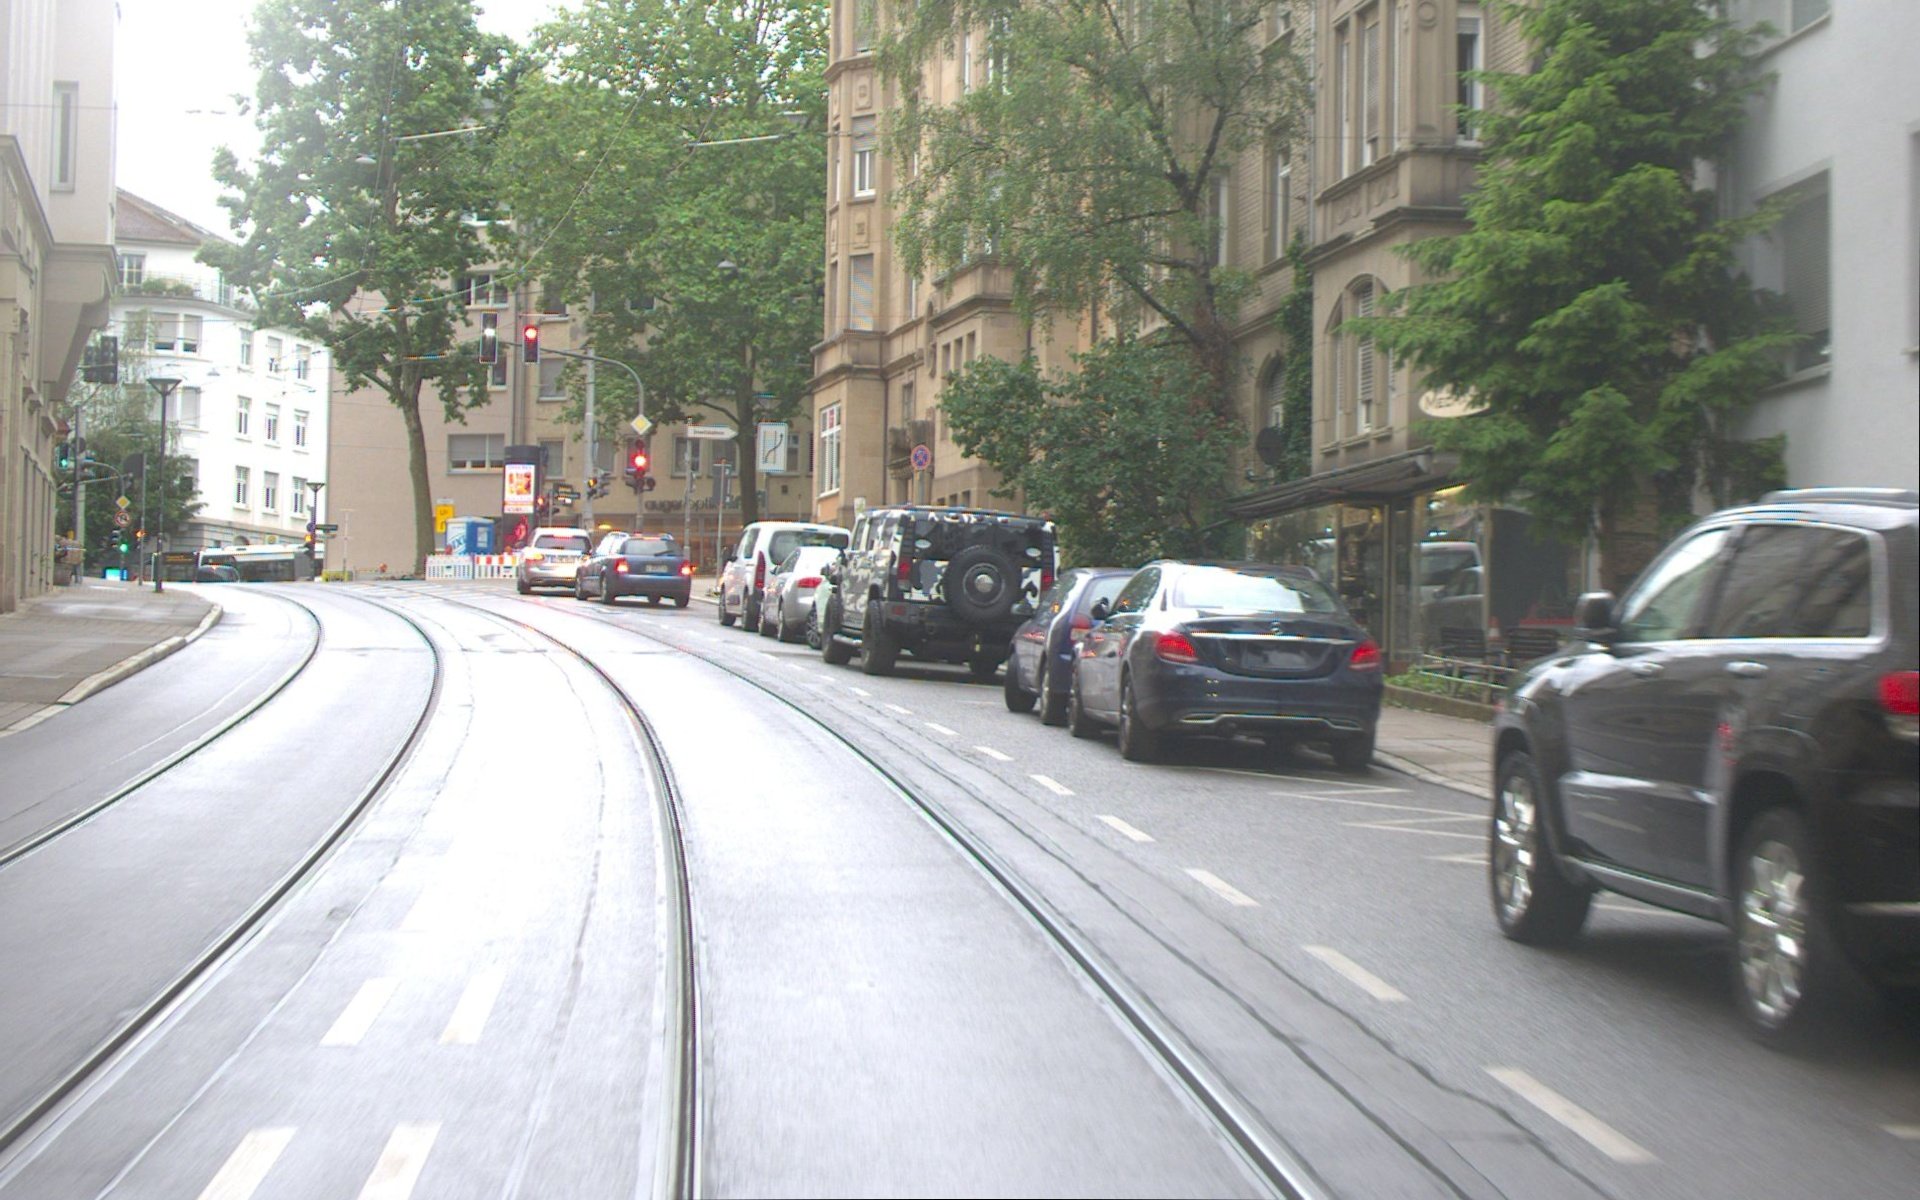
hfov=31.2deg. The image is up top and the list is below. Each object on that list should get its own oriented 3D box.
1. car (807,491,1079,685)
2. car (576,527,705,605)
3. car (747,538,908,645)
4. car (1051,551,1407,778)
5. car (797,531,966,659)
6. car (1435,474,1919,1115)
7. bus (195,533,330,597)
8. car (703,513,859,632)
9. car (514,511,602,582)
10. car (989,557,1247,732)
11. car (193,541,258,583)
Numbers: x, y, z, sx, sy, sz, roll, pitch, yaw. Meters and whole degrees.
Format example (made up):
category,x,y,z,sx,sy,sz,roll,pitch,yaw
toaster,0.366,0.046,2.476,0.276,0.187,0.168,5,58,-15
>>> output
category,x,y,z,sx,sy,sz,roll,pitch,yaw
car,-0.293,-0.196,40.194,2.128,2.007,5.352,3,1,-11
car,-6.514,-0.704,69.746,1.710,1.410,4.038,2,2,-18
car,-2.019,-0.162,51.231,1.748,1.396,4.479,3,1,-10
car,1.896,0.409,25.697,1.794,1.432,4.612,2,1,-6
car,-1.098,-0.100,46.143,1.559,1.541,3.585,3,1,-12
car,3.260,0.545,12.102,1.942,1.789,4.822,2,1,-6
bus,-32.613,-1.678,161.110,2.856,2.851,8.729,1,1,12
car,-2.974,-0.481,56.204,1.797,1.759,4.464,3,1,-12
car,-8.877,-1.189,75.732,1.710,1.451,3.554,2,1,-9
car,1.320,0.341,30.262,1.678,1.333,3.883,2,1,-6
car,-28.169,-1.484,131.932,1.794,1.505,4.001,-1,1,-3
